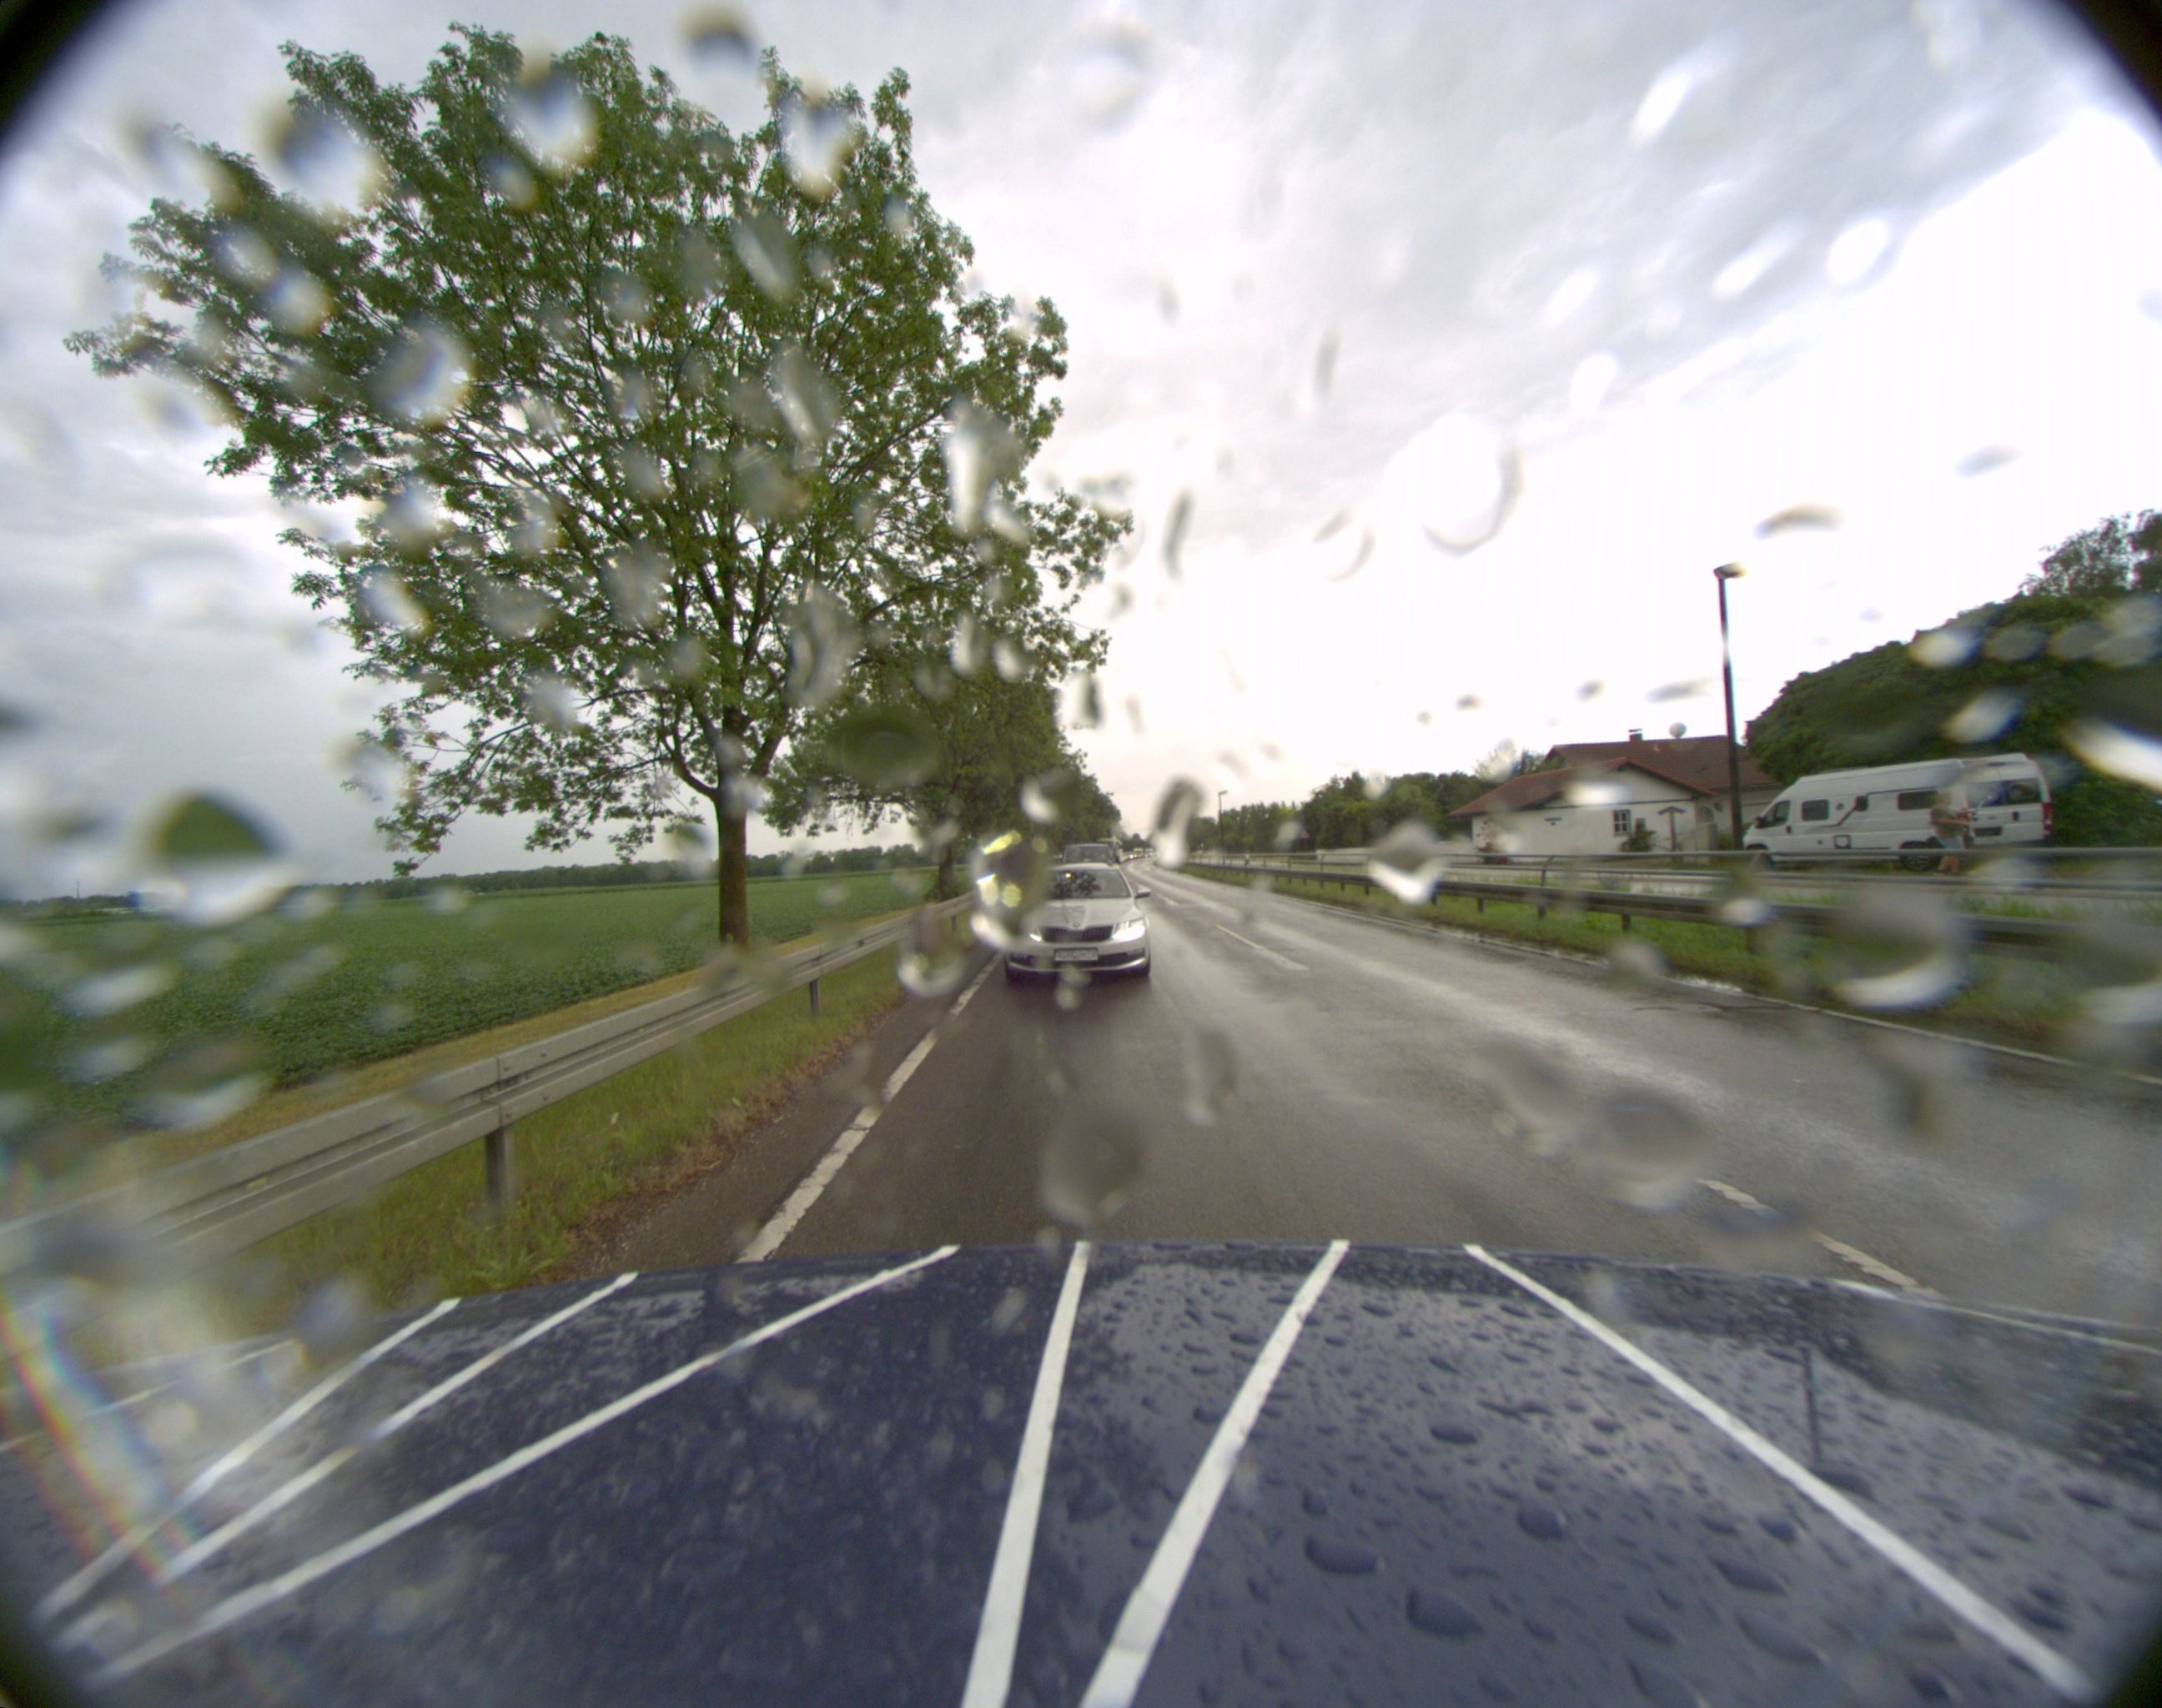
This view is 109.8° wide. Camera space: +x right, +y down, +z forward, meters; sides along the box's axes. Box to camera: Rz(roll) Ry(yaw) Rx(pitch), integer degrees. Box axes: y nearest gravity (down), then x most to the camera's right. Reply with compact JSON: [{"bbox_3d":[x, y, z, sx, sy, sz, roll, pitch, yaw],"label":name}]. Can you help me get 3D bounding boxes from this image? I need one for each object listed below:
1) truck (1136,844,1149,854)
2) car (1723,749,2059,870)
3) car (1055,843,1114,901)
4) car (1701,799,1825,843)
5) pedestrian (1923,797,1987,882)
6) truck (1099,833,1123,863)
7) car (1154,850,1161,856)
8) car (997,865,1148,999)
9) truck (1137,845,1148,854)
[{"bbox_3d":[15.872,-1.355,196.417,2.800,2.461,7.169,-3,0,3],"label":"truck"},{"bbox_3d":[20.539,-0.994,19.882,2.243,2.565,6.019,-4,0,0],"label":"car"},{"bbox_3d":[0.101,0.588,27.083,1.903,1.884,3.999,-1,0,-1],"label":"car"},{"bbox_3d":[24.124,-1.136,27.029,1.452,1.348,3.270,-3,0,1],"label":"car"},{"bbox_3d":[18.142,-0.304,15.785,0.516,1.701,0.650,-3,1,8],"label":"pedestrian"},{"bbox_3d":[3.849,-0.771,99.166,2.751,3.547,8.386,-3,0,1],"label":"truck"},{"bbox_3d":[25.199,-0.427,249.025,1.811,1.723,4.027,-4,0,1],"label":"car"},{"bbox_3d":[-0.114,0.926,10.761,1.705,1.438,3.999,-1,0,-1],"label":"car"},{"bbox_3d":[17.085,-1.202,210.672,2.800,2.461,7.169,-3,0,3],"label":"truck"}]
